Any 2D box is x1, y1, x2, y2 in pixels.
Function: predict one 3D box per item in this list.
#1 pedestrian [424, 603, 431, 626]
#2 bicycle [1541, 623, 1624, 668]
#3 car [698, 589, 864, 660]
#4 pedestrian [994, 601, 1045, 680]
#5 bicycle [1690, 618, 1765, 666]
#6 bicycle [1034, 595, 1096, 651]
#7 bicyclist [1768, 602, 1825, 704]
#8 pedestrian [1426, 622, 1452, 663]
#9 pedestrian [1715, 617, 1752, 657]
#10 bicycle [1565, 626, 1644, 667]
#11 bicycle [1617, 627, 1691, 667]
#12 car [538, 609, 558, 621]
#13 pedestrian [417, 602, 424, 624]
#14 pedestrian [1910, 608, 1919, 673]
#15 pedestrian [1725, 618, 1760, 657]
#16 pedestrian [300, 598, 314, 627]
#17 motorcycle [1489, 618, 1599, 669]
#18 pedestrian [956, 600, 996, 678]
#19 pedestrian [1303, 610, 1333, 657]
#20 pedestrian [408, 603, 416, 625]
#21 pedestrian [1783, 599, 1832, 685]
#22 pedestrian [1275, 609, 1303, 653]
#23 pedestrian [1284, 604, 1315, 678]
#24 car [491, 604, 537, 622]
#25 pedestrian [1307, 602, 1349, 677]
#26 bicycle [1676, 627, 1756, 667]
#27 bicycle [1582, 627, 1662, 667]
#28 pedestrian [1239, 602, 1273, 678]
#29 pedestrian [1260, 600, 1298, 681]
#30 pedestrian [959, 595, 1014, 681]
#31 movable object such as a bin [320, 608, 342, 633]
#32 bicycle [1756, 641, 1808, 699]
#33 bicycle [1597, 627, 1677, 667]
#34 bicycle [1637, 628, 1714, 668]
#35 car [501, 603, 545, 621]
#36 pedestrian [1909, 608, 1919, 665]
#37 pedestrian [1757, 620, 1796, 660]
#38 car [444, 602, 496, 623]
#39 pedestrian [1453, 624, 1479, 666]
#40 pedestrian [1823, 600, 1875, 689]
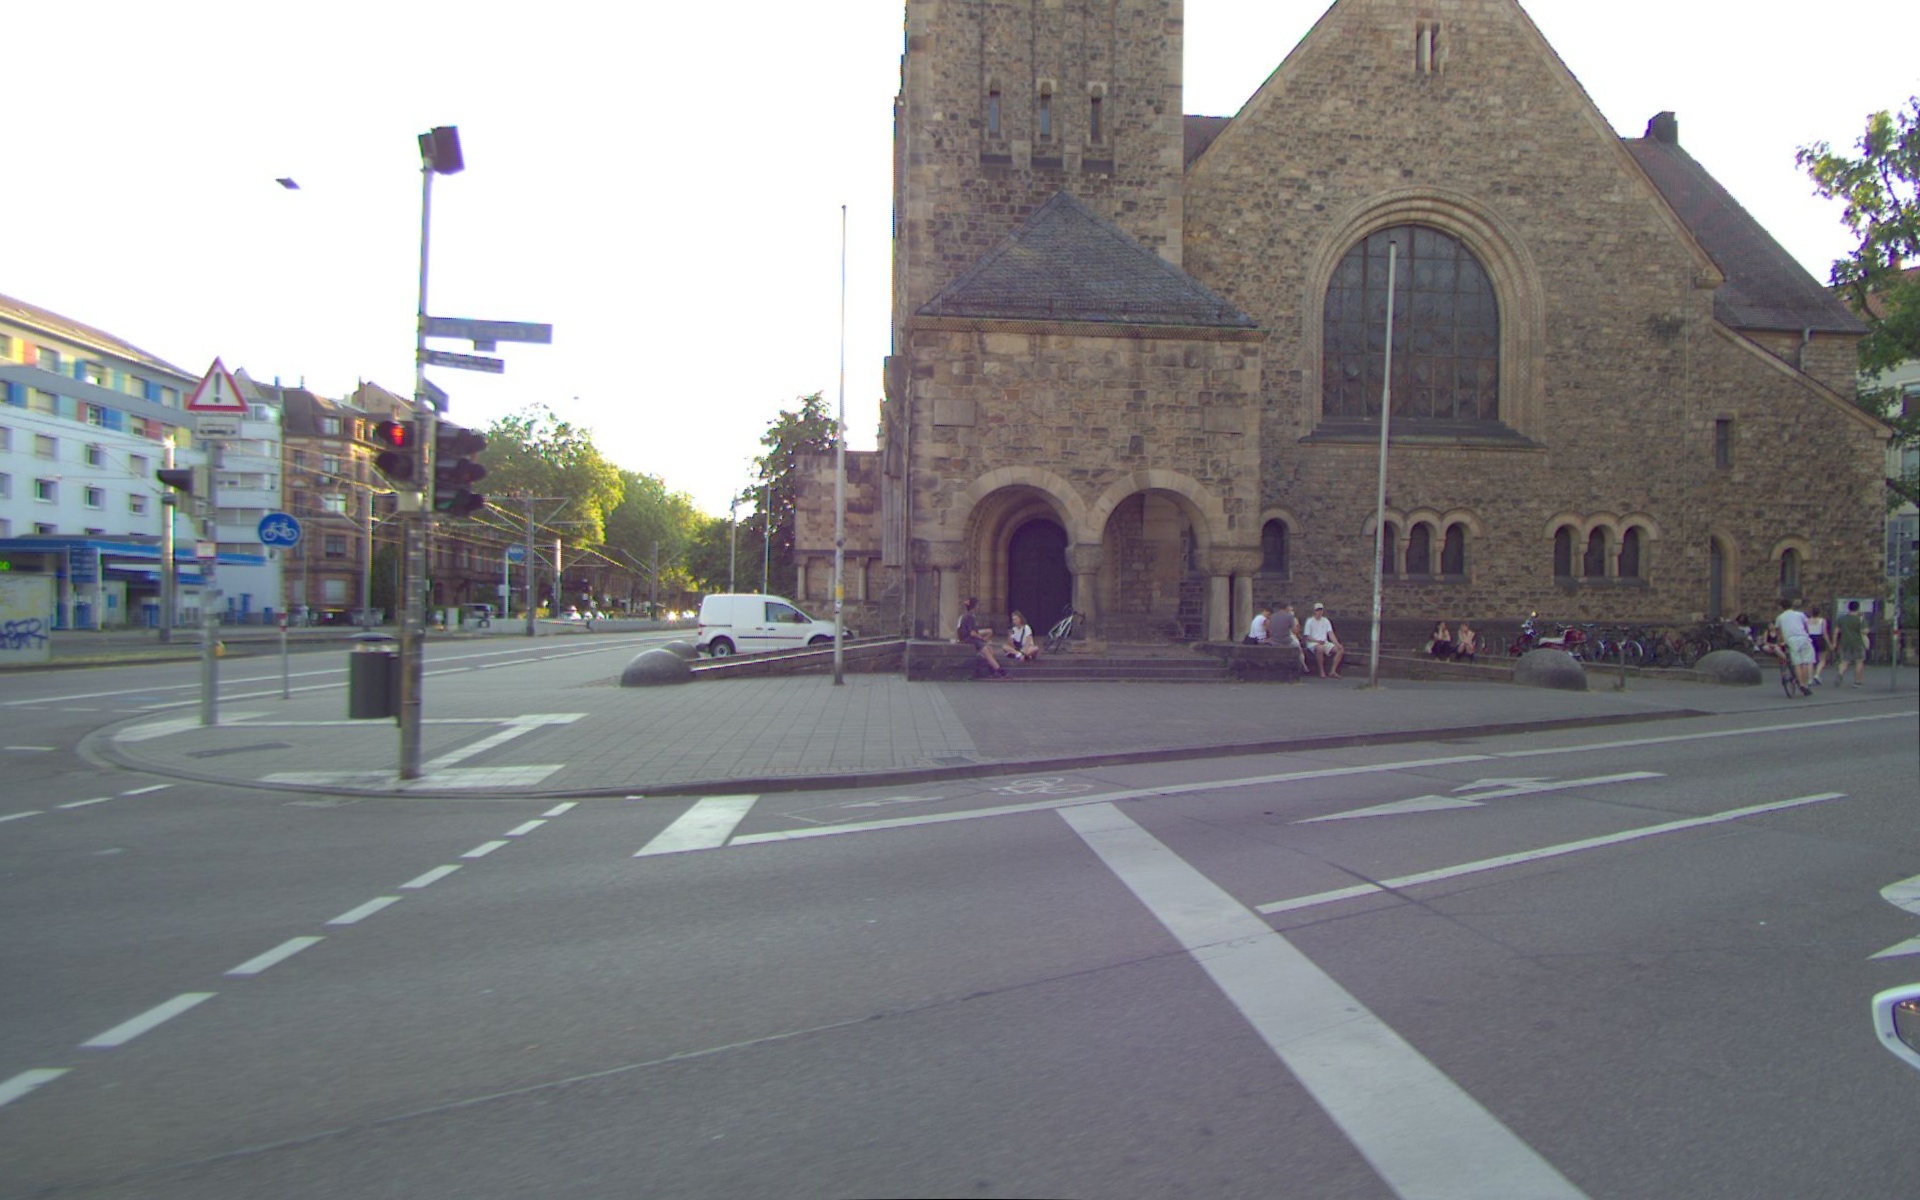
[{"bbox_3d":[-44.869,1.218,84.571,0.446,1.850,0.550,1,-1,-22],"label":"pedestrian"},{"bbox_3d":[16.474,1.188,26.645,0.576,1.002,2.002,1,2,-14],"label":"bicycle"},{"bbox_3d":[-4.849,0.676,27.635,4.321,1.832,1.584,1,-1,-3],"label":"car"},{"bbox_3d":[1.090,0.726,18.303,0.686,1.393,0.803,0,-1,22],"label":"pedestrian"},{"bbox_3d":[20.810,1.119,27.285,0.430,1.265,1.728,1,-1,-15],"label":"bicycle"},{"bbox_3d":[2.104,0.453,20.449,0.584,1.071,2.281,1,-1,-11],"label":"bicycle"},{"bbox_3d":[16.237,1.005,19.499,0.936,1.905,0.699,0,1,-43],"label":"bicyclist"},{"bbox_3d":[11.732,1.041,24.616,0.551,0.980,0.649,0,-1,27],"label":"pedestrian"},{"bbox_3d":[21.396,1.019,27.798,0.726,1.062,0.519,1,0,31],"label":"pedestrian"},{"bbox_3d":[17.127,1.223,26.734,0.458,1.002,2.002,1,-1,-14],"label":"bicycle"},{"bbox_3d":[18.604,1.251,26.973,0.364,1.002,1.879,1,-1,-14],"label":"bicycle"},{"bbox_3d":[-49.671,1.815,121.127,1.480,1.415,3.224,1,-1,-8],"label":"car"},{"bbox_3d":[-45.479,1.080,84.691,0.446,1.850,0.550,1,-1,-22],"label":"pedestrian"},{"bbox_3d":[26.308,1.105,27.173,0.683,1.748,0.711,1,-1,-28],"label":"pedestrian"},{"bbox_3d":[21.986,1.045,28.214,0.596,1.062,0.498,1,0,-9],"label":"pedestrian"},{"bbox_3d":[-45.887,0.896,70.557,0.547,2.040,0.608,1,0,-4],"label":"pedestrian"},{"bbox_3d":[15.005,1.092,25.887,0.811,1.141,2.407,1,1,-25],"label":"motorcycle"},{"bbox_3d":[0.300,0.713,18.483,0.685,1.393,0.804,1,-1,4],"label":"pedestrian"},{"bbox_3d":[8.839,0.817,24.789,0.672,1.109,1.333,0,-1,21],"label":"pedestrian"},{"bbox_3d":[-45.918,1.182,84.161,0.446,1.850,0.550,1,-1,-22],"label":"pedestrian"},{"bbox_3d":[19.006,0.932,22.523,0.978,1.881,0.569,1,0,-33],"label":"pedestrian"},{"bbox_3d":[8.239,0.765,25.131,0.635,1.090,0.830,0,-1,21],"label":"pedestrian"},{"bbox_3d":[6.622,0.797,19.604,0.449,1.425,0.548,1,0,6],"label":"pedestrian"},{"bbox_3d":[-50.168,1.454,113.043,4.299,2.040,1.997,1,0,-9],"label":"car"},{"bbox_3d":[7.216,0.765,19.724,0.619,1.425,0.704,1,0,6],"label":"pedestrian"},{"bbox_3d":[20.380,1.251,27.114,0.434,1.002,1.879,1,-1,-14],"label":"bicycle"},{"bbox_3d":[17.625,1.231,26.806,0.458,1.002,2.002,1,-1,-14],"label":"bicycle"},{"bbox_3d":[5.637,0.751,19.147,0.537,1.425,0.402,1,0,6],"label":"pedestrian"},{"bbox_3d":[5.906,0.737,18.625,0.546,1.472,0.550,1,0,6],"label":"pedestrian"},{"bbox_3d":[0.460,0.658,17.687,0.897,1.473,0.630,1,-1,-3],"label":"pedestrian"},{"bbox_3d":[-51.018,1.641,81.425,1.478,2.040,1.347,1,0,-34],"label":"movable object such as a bin"},{"bbox_3d":[16.103,1.342,19.664,2.174,1.026,0.546,1,1,-45],"label":"bicycle"},{"bbox_3d":[18.122,1.233,26.925,0.458,1.002,1.985,1,-1,-14],"label":"bicycle"},{"bbox_3d":[19.145,1.262,26.916,0.364,1.002,1.879,1,-1,-14],"label":"bicycle"},{"bbox_3d":[-50.698,1.420,116.498,4.299,2.040,1.997,1,0,-9],"label":"car"},{"bbox_3d":[28.567,1.076,29.782,0.407,1.697,0.548,1,0,21],"label":"pedestrian"},{"bbox_3d":[22.467,1.096,27.631,0.688,1.070,0.516,1,0,-13],"label":"pedestrian"},{"bbox_3d":[-50.431,1.272,103.461,4.409,2.040,1.998,1,0,-7],"label":"car"},{"bbox_3d":[12.283,1.085,24.391,0.551,1.005,0.695,0,-1,27],"label":"pedestrian"},{"bbox_3d":[19.443,0.951,21.969,0.881,1.904,0.643,1,0,-33],"label":"pedestrian"}]
